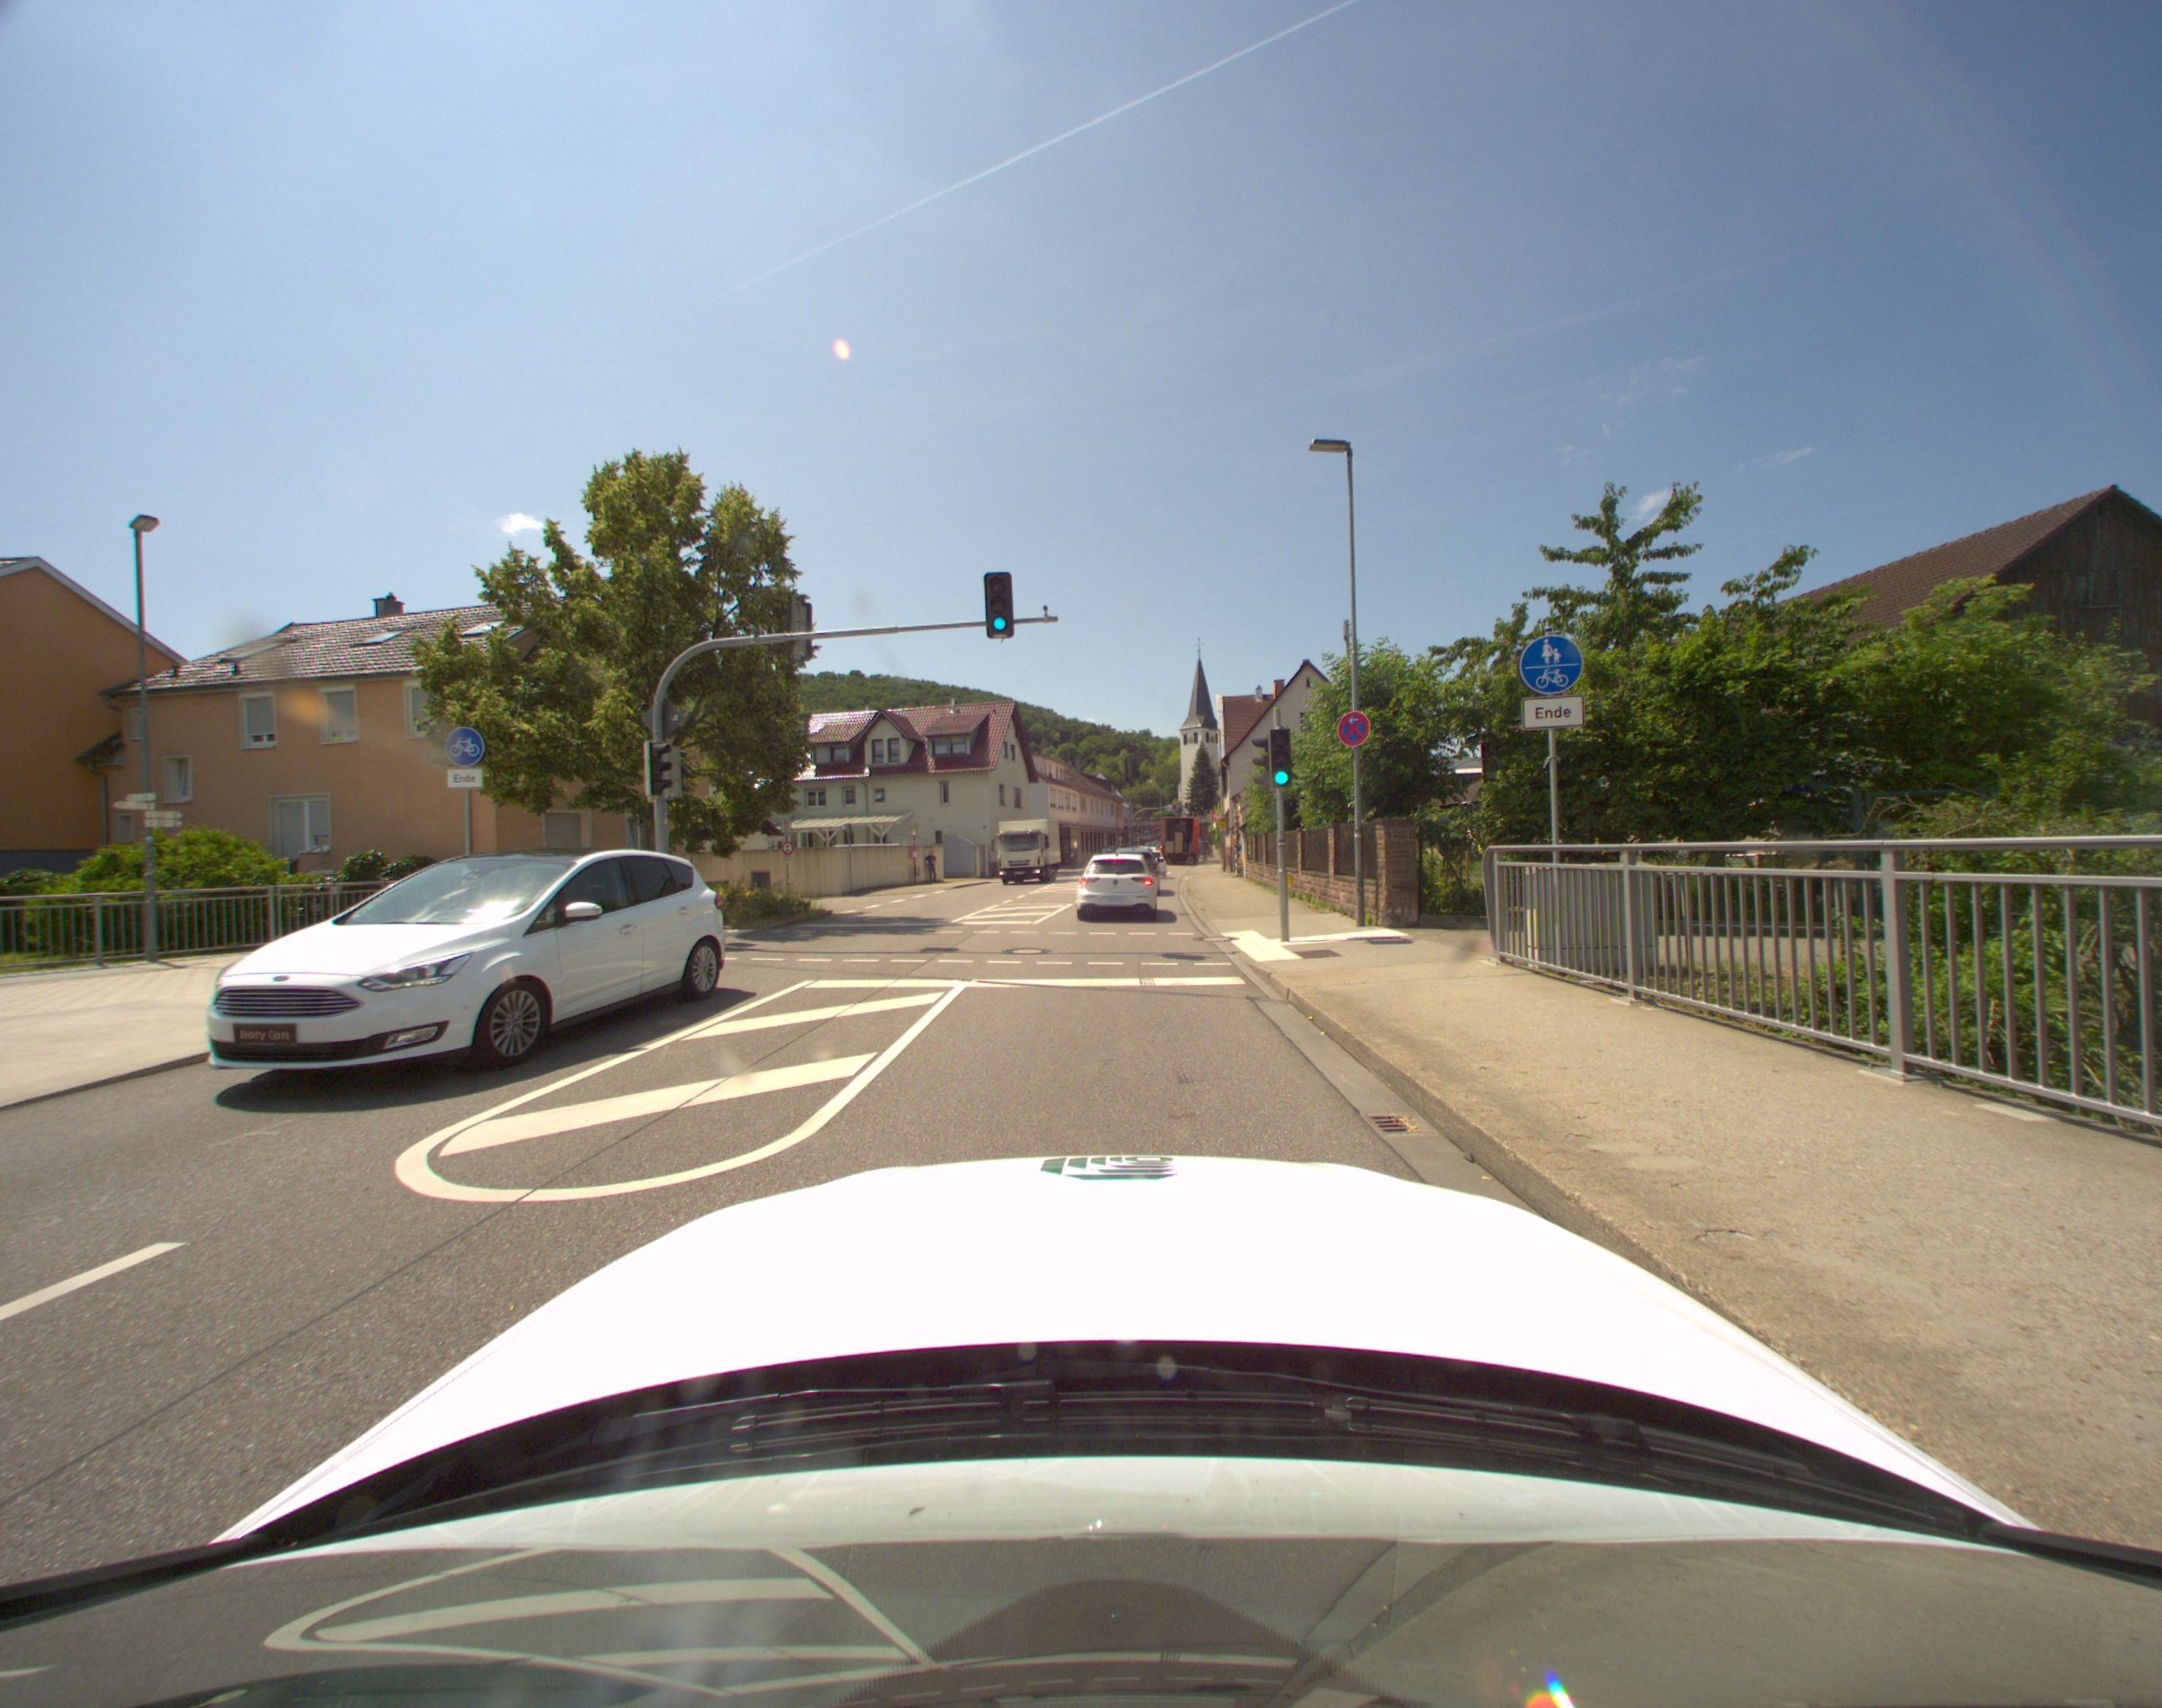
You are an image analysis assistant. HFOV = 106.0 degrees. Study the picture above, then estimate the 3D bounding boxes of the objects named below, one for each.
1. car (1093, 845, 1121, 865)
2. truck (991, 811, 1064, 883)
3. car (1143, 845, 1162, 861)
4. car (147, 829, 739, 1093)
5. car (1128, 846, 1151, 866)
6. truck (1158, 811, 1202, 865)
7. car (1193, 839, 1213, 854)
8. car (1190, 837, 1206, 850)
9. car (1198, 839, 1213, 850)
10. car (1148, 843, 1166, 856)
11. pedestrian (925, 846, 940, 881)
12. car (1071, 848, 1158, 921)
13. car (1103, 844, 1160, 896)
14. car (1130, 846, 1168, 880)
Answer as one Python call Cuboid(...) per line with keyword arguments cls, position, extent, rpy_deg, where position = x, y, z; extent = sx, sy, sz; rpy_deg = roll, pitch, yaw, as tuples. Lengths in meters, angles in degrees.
Cuboid(cls="car", position=(2.292, 0.095, 70.308), extent=(1.727, 1.651, 3.680), rpy_deg=(-2, 0, 12))
Cuboid(cls="truck", position=(-2.539, -0.308, 40.861), extent=(2.489, 3.235, 6.050), rpy_deg=(-3, 0, 6))
Cuboid(cls="car", position=(7.548, -0.099, 85.536), extent=(1.806, 1.519, 4.006), rpy_deg=(-3, 0, 6))
Cuboid(cls="car", position=(-4.918, 0.685, 7.167), extent=(1.806, 1.649, 4.006), rpy_deg=(-1, 0, 6))
Cuboid(cls="car", position=(4.925, 0.139, 68.197), extent=(1.806, 1.519, 4.006), rpy_deg=(-3, 0, 6))
Cuboid(cls="truck", position=(8.670, -1.283, 70.841), extent=(3.348, 4.170, 9.540), rpy_deg=(-3, 0, 8))
Cuboid(cls="car", position=(12.759, -0.761, 85.467), extent=(1.806, 1.519, 4.006), rpy_deg=(-3, 0, 6))
Cuboid(cls="car", position=(14.500, -1.258, 101.031), extent=(1.806, 1.519, 4.006), rpy_deg=(-3, 0, 6))
Cuboid(cls="car", position=(17.686, -1.329, 116.096), extent=(1.806, 1.519, 4.006), rpy_deg=(-3, 0, 6))
Cuboid(cls="car", position=(9.555, -0.558, 101.994), extent=(1.784, 1.508, 4.145), rpy_deg=(-3, 0, 10))
Cuboid(cls="pedestrian", position=(-7.687, 0.495, 42.227), extent=(0.430, 1.764, 0.560), rpy_deg=(-2, 0, 24))
Cuboid(cls="car", position=(0.887, 0.656, 19.086), extent=(1.806, 1.519, 4.006), rpy_deg=(-1, 0, 6))
Cuboid(cls="car", position=(1.870, 0.538, 28.928), extent=(1.806, 1.628, 4.006), rpy_deg=(-3, 0, 6))
Cuboid(cls="car", position=(3.618, 0.450, 43.057), extent=(1.806, 1.628, 4.006), rpy_deg=(-3, 0, 6))
